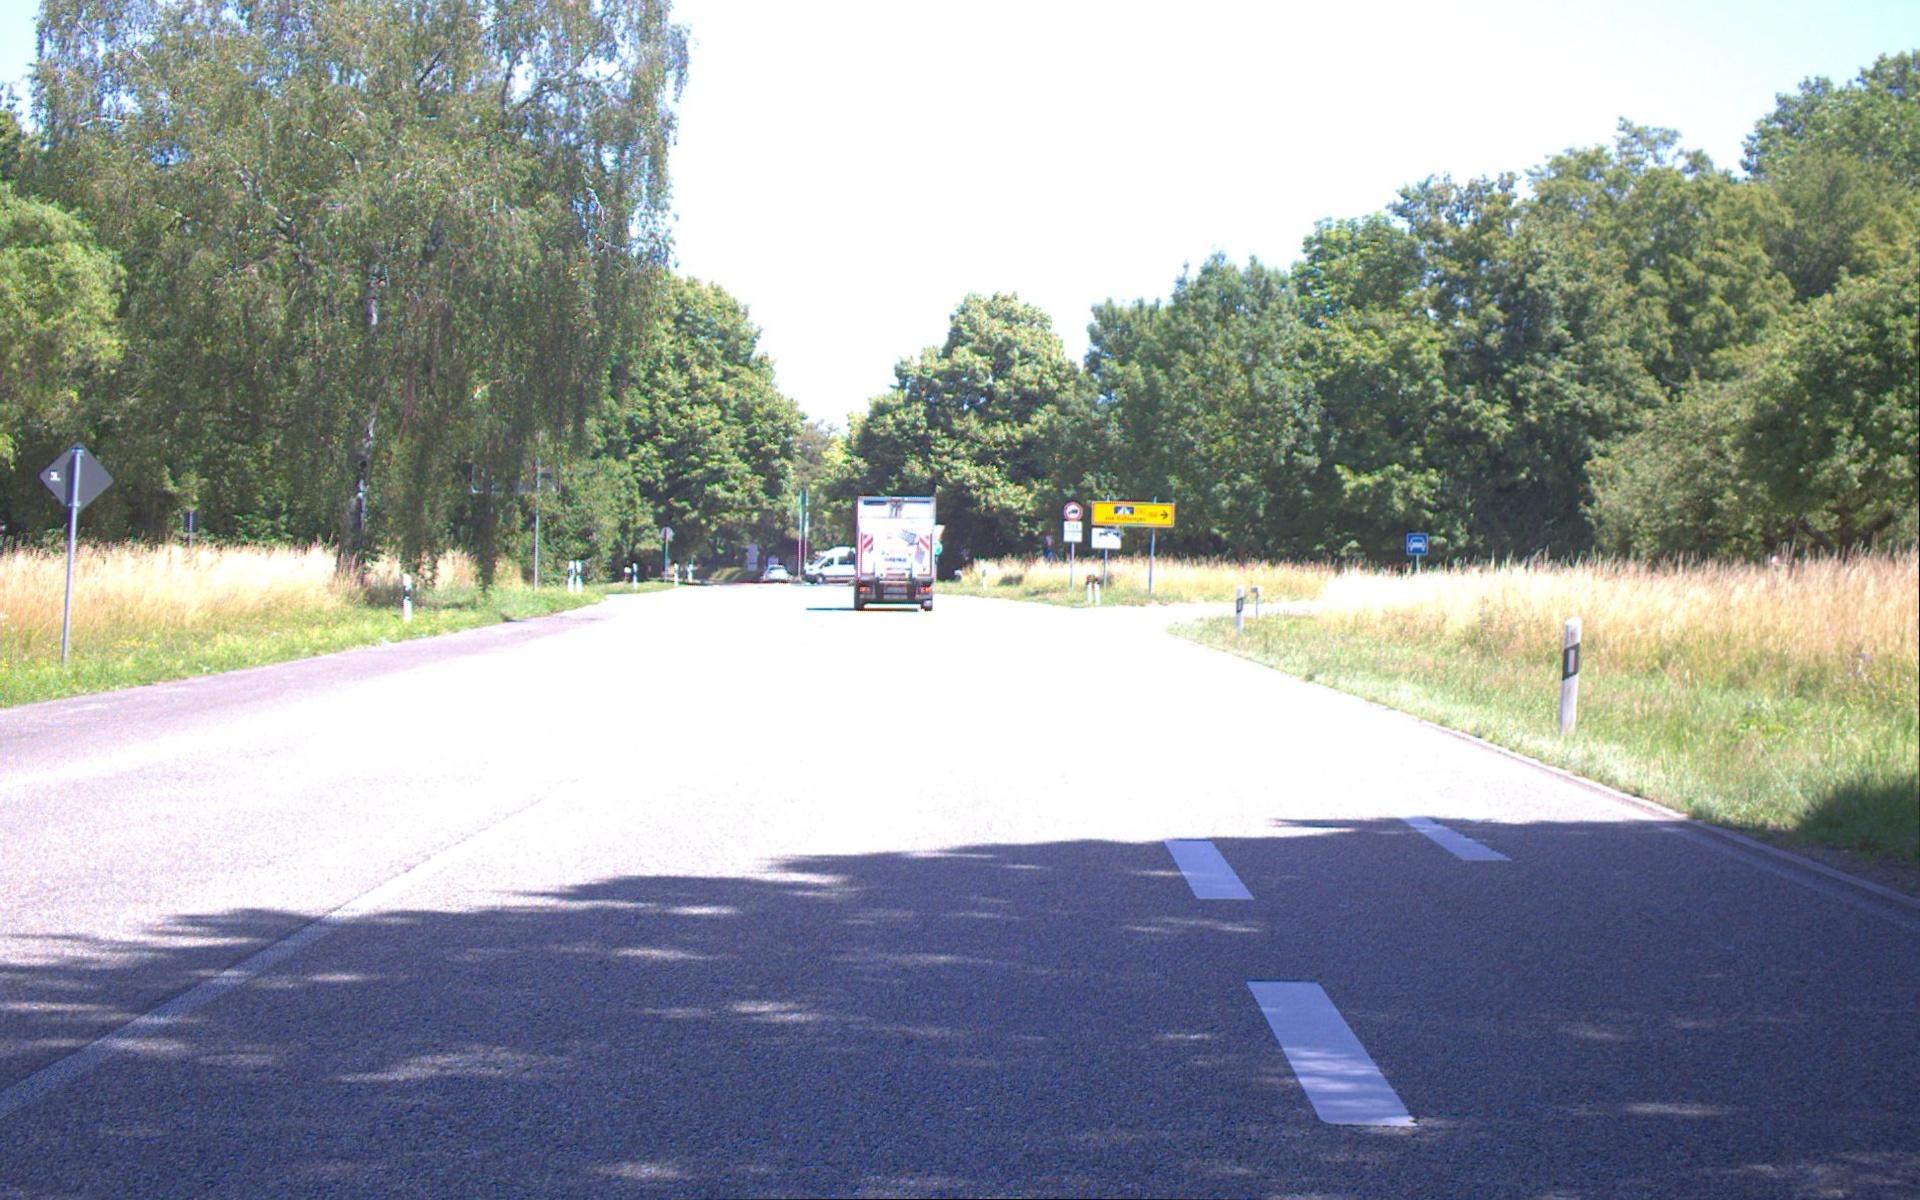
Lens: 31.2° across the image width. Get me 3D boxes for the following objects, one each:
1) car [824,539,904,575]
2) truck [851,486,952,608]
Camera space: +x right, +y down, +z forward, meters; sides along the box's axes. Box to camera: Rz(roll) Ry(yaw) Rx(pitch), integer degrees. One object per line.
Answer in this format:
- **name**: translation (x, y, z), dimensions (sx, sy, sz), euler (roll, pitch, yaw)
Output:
- **car**: translation (-7.160, -3.181, 256.798), dimensions (2.078, 2.618, 6.768), euler (1, 0, 39)
- **truck**: translation (-1.522, -1.417, 91.311), dimensions (2.534, 3.124, 5.361), euler (1, 1, 0)
